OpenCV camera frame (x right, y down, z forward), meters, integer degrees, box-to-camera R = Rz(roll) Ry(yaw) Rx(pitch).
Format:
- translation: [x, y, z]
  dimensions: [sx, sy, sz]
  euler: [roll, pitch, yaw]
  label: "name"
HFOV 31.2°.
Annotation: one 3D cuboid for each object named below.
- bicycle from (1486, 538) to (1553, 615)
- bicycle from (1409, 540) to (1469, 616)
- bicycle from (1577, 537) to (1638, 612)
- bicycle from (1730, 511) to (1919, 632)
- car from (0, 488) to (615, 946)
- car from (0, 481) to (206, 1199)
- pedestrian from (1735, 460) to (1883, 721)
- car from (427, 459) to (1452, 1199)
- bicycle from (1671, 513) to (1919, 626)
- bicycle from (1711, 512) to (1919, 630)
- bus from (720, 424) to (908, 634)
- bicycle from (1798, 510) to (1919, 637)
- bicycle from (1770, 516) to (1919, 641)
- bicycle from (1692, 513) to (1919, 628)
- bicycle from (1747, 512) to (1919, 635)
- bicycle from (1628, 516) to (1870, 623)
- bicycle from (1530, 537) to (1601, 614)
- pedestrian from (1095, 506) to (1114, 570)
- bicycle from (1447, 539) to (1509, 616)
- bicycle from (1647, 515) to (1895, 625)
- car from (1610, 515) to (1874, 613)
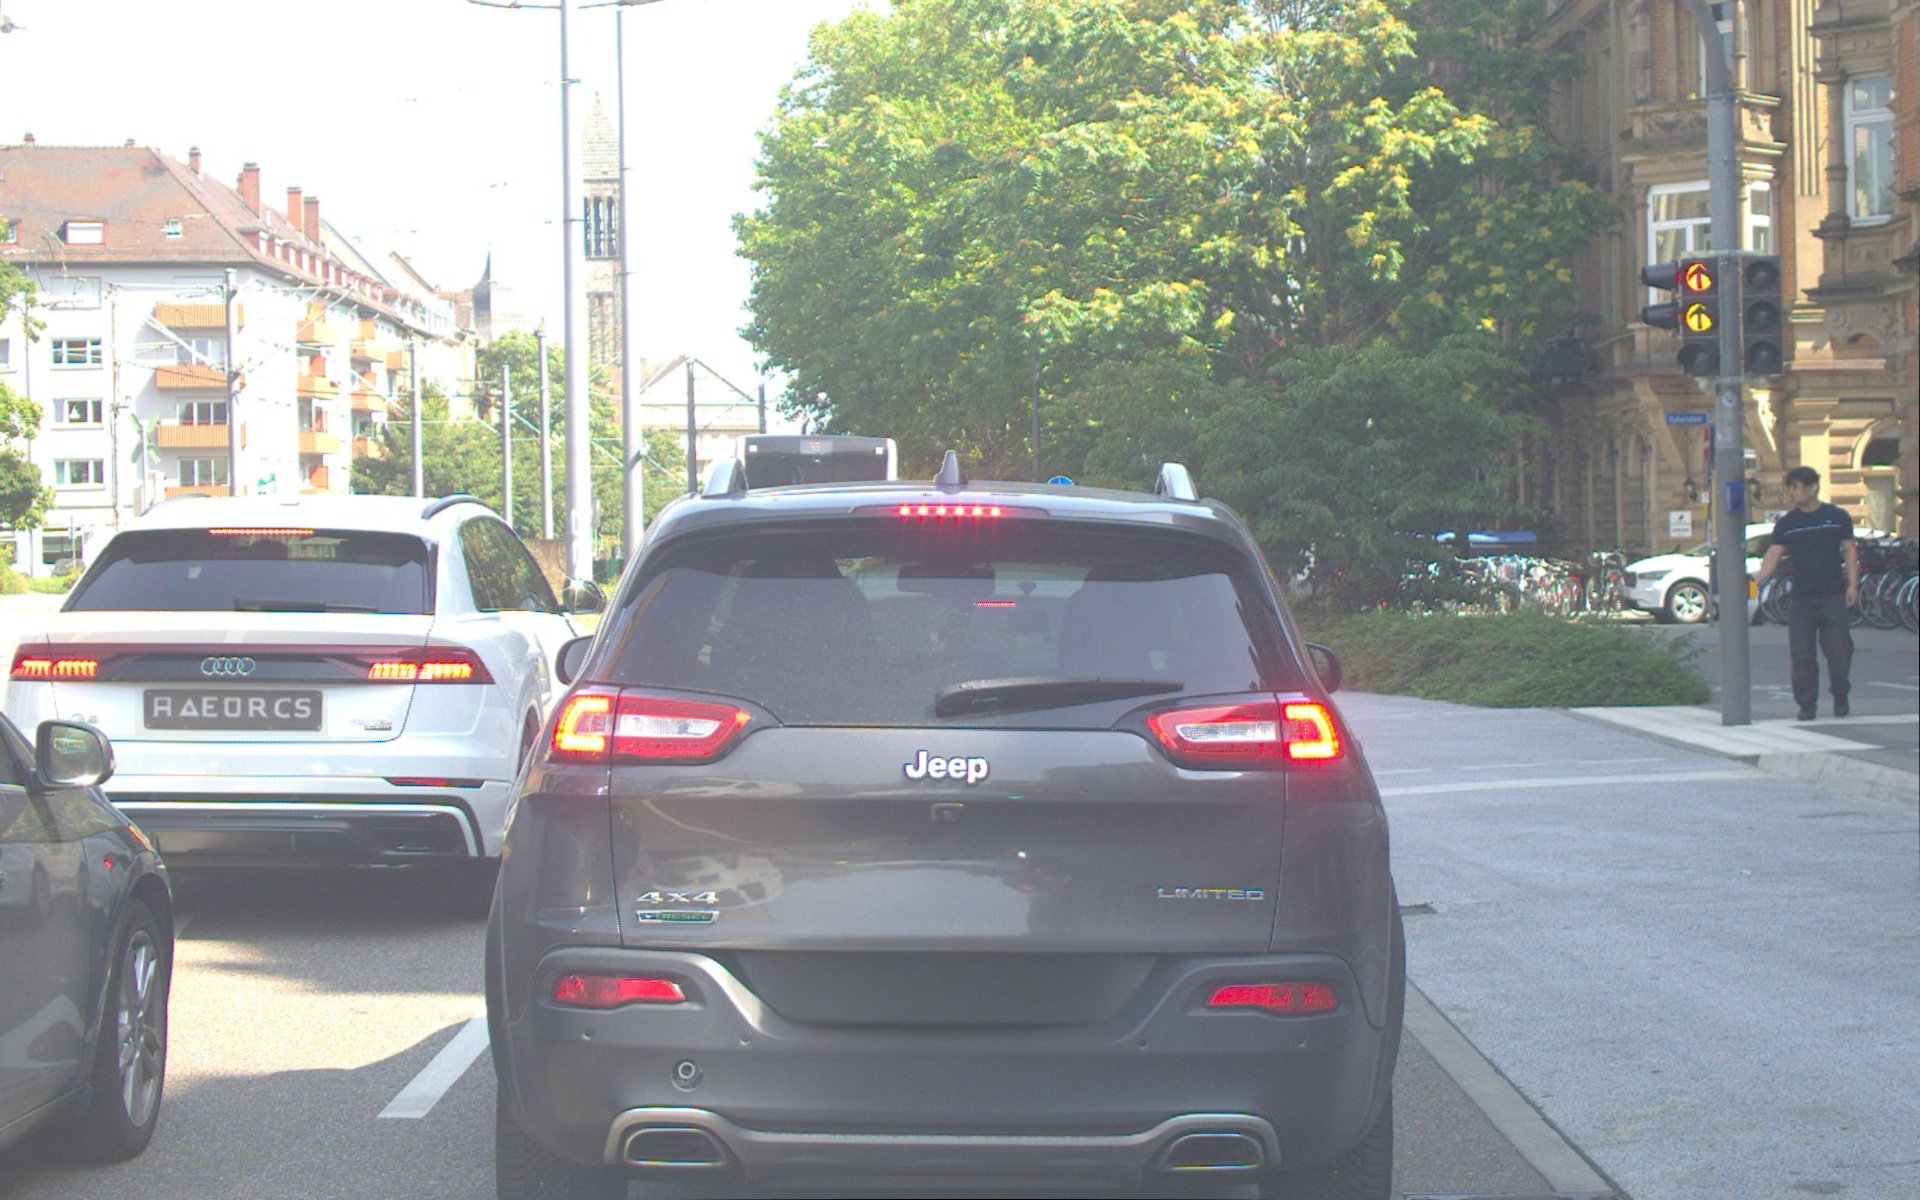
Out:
- translation: [9.496, -0.415, 58.453]
  dimensions: [0.732, 1.249, 3.014]
  euler: [-1, 1, 2]
  label: "bicycle"
- translation: [8.135, -0.388, 58.479]
  dimensions: [0.649, 1.249, 3.014]
  euler: [-1, 1, 2]
  label: "bicycle"
- translation: [11.084, -0.455, 58.900]
  dimensions: [0.658, 1.245, 2.412]
  euler: [-1, 1, 2]
  label: "bicycle"
- translation: [10.742, -0.352, 40.769]
  dimensions: [2.993, 1.366, 0.871]
  euler: [-1, 1, -1]
  label: "bicycle"
- translation: [-2.607, 0.371, 14.519]
  dimensions: [1.902, 1.646, 4.309]
  euler: [0, 1, 0]
  label: "car"
- translation: [-2.804, 0.563, 6.710]
  dimensions: [1.747, 1.609, 4.309]
  euler: [0, 1, 0]
  label: "car"
- translation: [5.832, -0.070, 23.588]
  dimensions: [0.899, 1.735, 0.768]
  euler: [-2, 1, 16]
  label: "pedestrian"
- translation: [-0.019, 0.531, 8.339]
  dimensions: [1.832, 1.646, 4.308]
  euler: [0, 1, 1]
  label: "car"
- translation: [10.681, -0.396, 43.818]
  dimensions: [3.003, 1.368, 0.947]
  euler: [-1, 1, -1]
  label: "bicycle"
- translation: [10.732, -0.361, 41.713]
  dimensions: [3.003, 1.368, 0.947]
  euler: [-1, 1, -1]
  label: "bicycle"
- translation: [-2.544, -1.140, 57.580]
  dimensions: [2.743, 3.096, 11.957]
  euler: [1, 1, -3]
  label: "bus"
- translation: [10.882, -0.317, 38.003]
  dimensions: [2.993, 1.366, 0.871]
  euler: [-1, 1, -1]
  label: "bicycle"
- translation: [10.779, -0.269, 38.910]
  dimensions: [2.993, 1.366, 0.871]
  euler: [-1, 1, -1]
  label: "bicycle"
- translation: [10.731, -0.378, 42.808]
  dimensions: [3.003, 1.368, 0.947]
  euler: [-1, 1, -1]
  label: "bicycle"
- translation: [10.729, -0.322, 39.822]
  dimensions: [2.993, 1.366, 0.871]
  euler: [-1, 1, -1]
  label: "bicycle"
- translation: [10.577, -0.414, 46.177]
  dimensions: [3.003, 1.368, 0.947]
  euler: [-1, 1, -1]
  label: "bicycle"
- translation: [10.285, -0.431, 58.467]
  dimensions: [0.763, 1.249, 3.014]
  euler: [-1, 1, 2]
  label: "bicycle"
- translation: [4.543, -1.943, 108.283]
  dimensions: [0.528, 2.007, 0.532]
  euler: [-1, 1, -2]
  label: "pedestrian"
- translation: [8.796, -0.403, 58.454]
  dimensions: [0.649, 1.249, 3.014]
  euler: [-1, 1, 2]
  label: "bicycle"
- translation: [10.629, -0.402, 45.135]
  dimensions: [3.003, 1.368, 0.947]
  euler: [-1, 1, -1]
  label: "bicycle"
- translation: [13.051, -0.611, 57.481]
  dimensions: [3.931, 1.515, 1.683]
  euler: [-1, 1, -7]
  label: "car"
